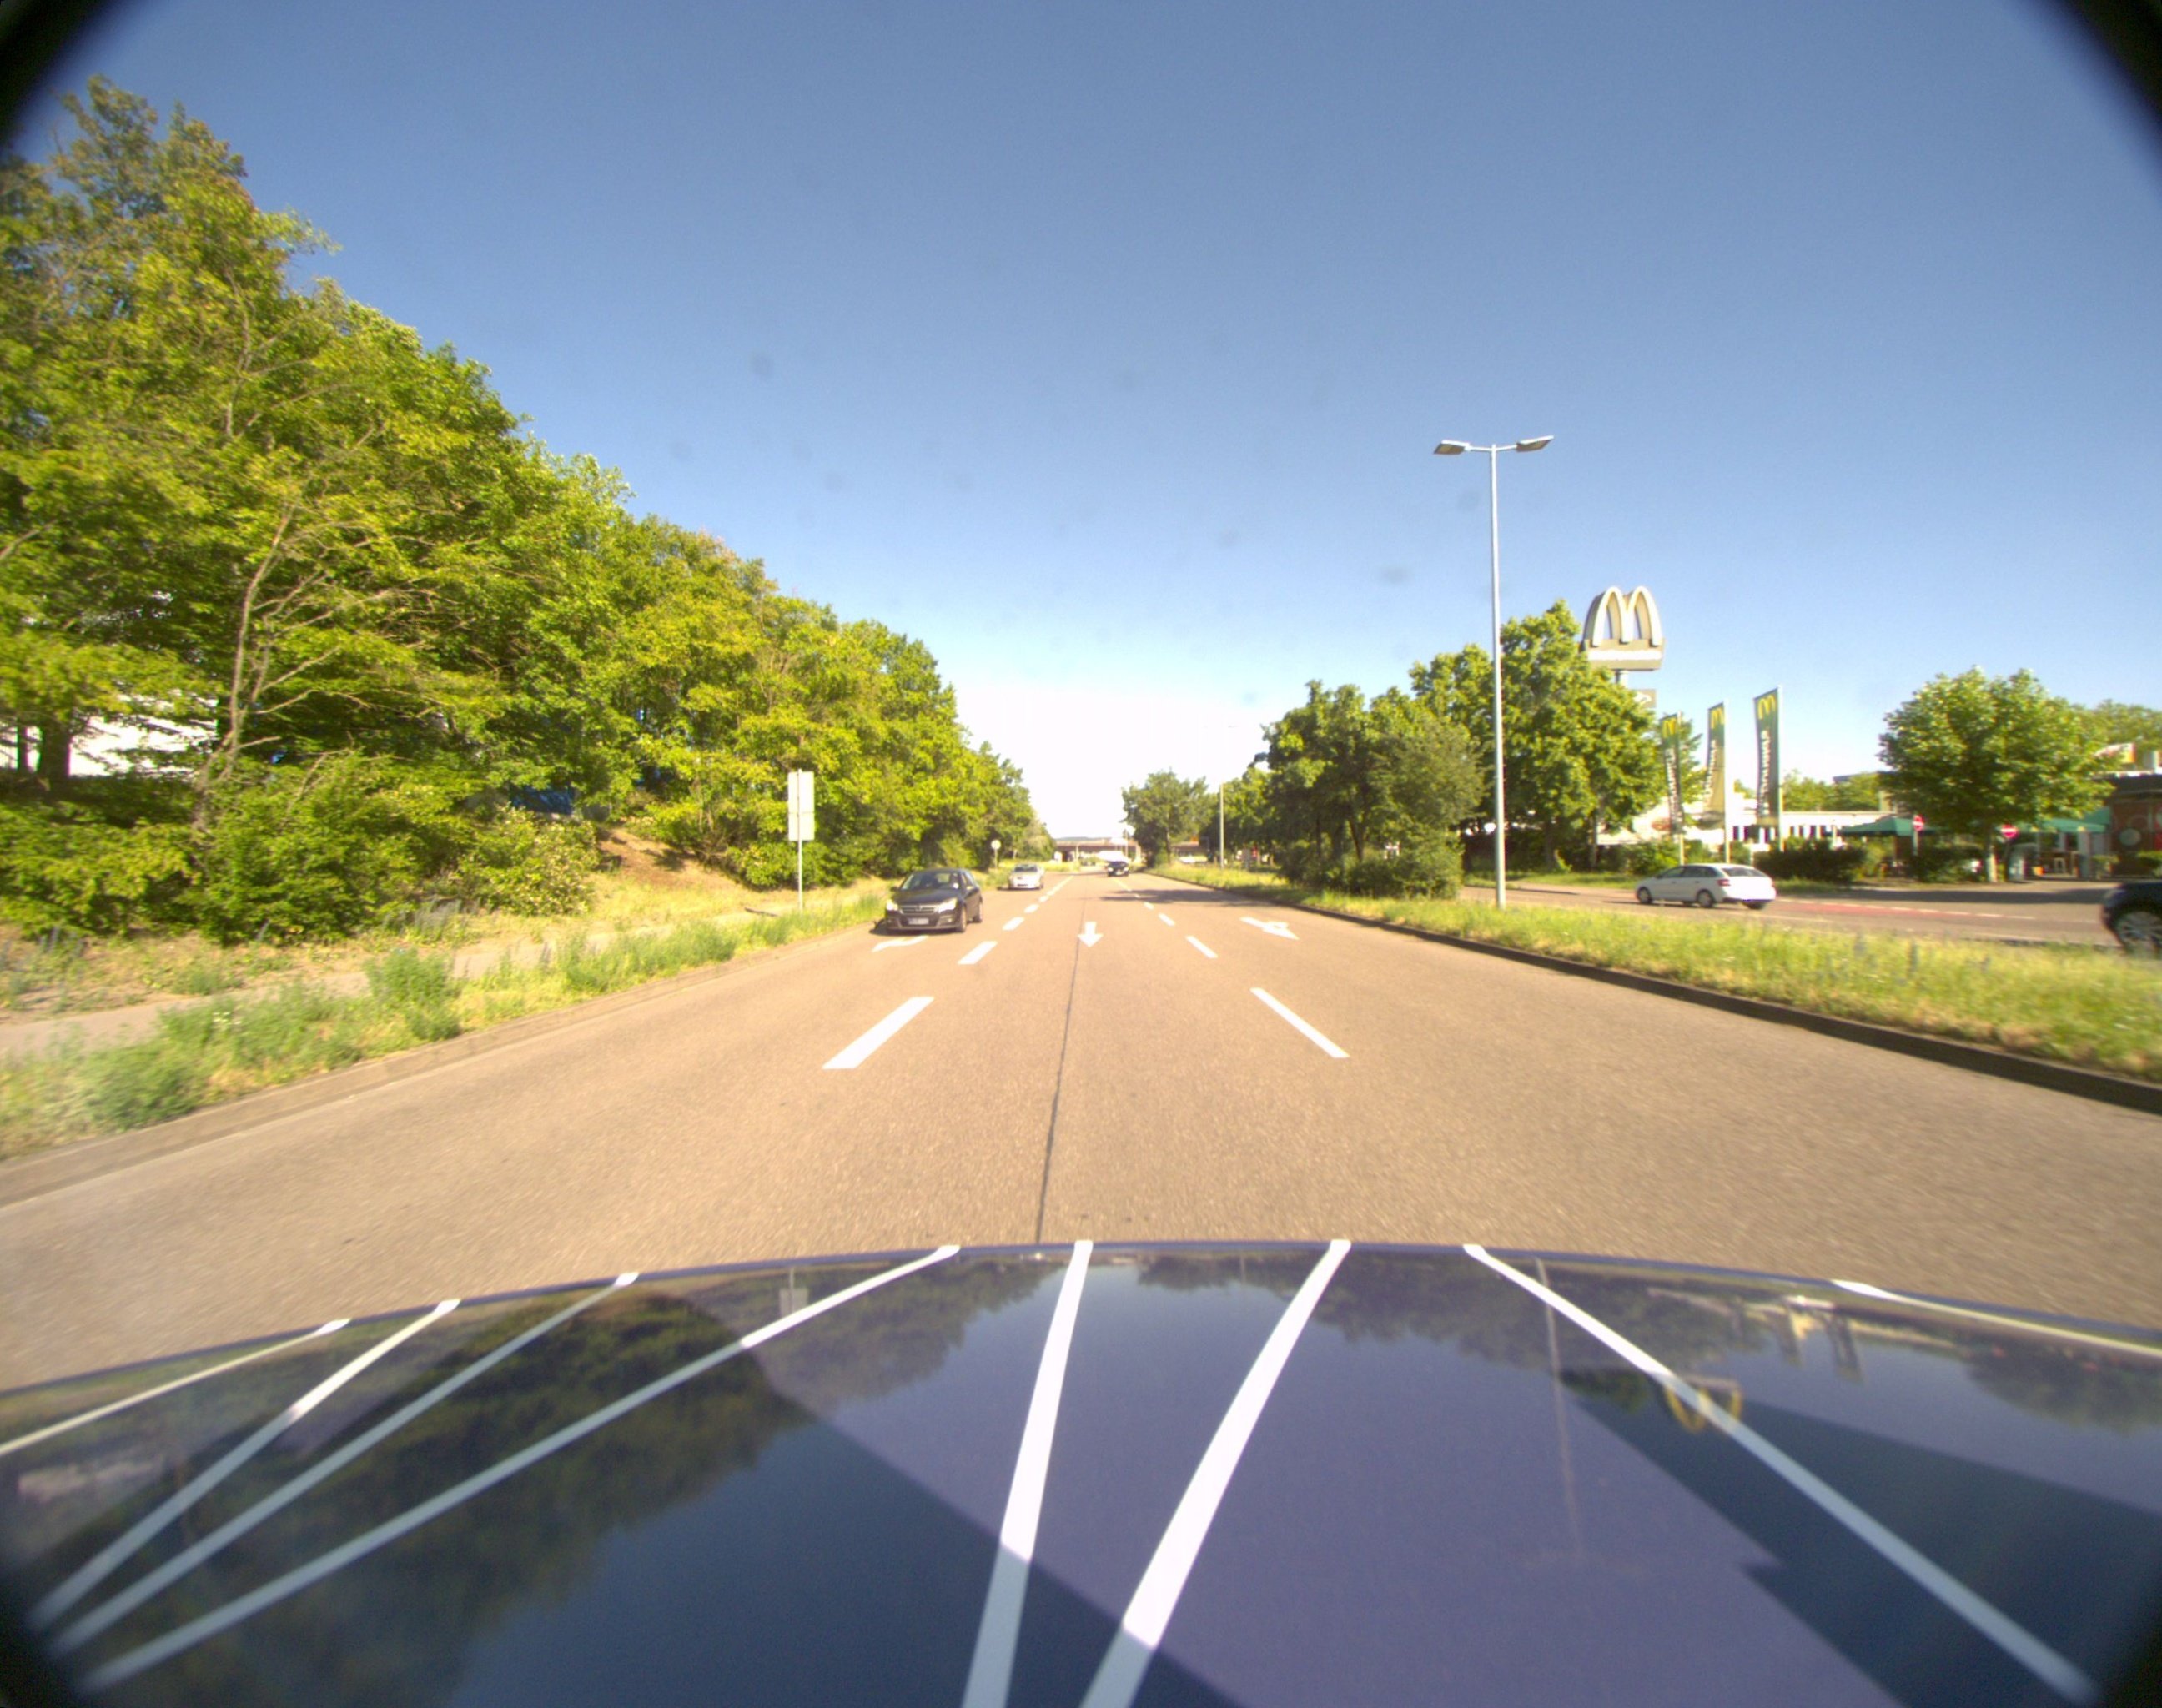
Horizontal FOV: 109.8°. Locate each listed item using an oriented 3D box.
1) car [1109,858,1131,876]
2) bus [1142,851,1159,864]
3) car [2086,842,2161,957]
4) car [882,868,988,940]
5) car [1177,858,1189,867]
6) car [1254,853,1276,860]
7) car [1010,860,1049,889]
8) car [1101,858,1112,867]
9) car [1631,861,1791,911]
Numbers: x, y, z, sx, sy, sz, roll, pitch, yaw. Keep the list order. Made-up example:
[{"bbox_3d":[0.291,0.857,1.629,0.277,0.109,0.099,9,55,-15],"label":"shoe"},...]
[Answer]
[{"bbox_3d":[3.515,1.177,68.666,1.827,1.528,4.042,-1,0,1],"label":"car"},{"bbox_3d":[15.839,0.882,173.442,2.728,2.705,11.088,2,0,1],"label":"bus"},{"bbox_3d":[17.684,0.744,10.362,1.744,1.791,4.671,2,0,1],"label":"car"},{"bbox_3d":[-3.327,1.099,18.062,1.707,1.446,3.959,-1,0,1],"label":"car"},{"bbox_3d":[18.670,1.516,139.362,1.760,1.511,4.530,2,-1,1],"label":"car"},{"bbox_3d":[39.687,0.529,164.116,4.129,1.380,1.946,0,0,-2],"label":"car"},{"bbox_3d":[-2.850,1.117,42.460,1.827,1.528,4.042,-1,0,1],"label":"car"},{"bbox_3d":[4.569,1.449,135.338,1.827,1.528,4.042,-1,0,1],"label":"car"},{"bbox_3d":[20.393,0.979,24.873,1.744,1.447,4.209,1,0,1],"label":"car"}]
